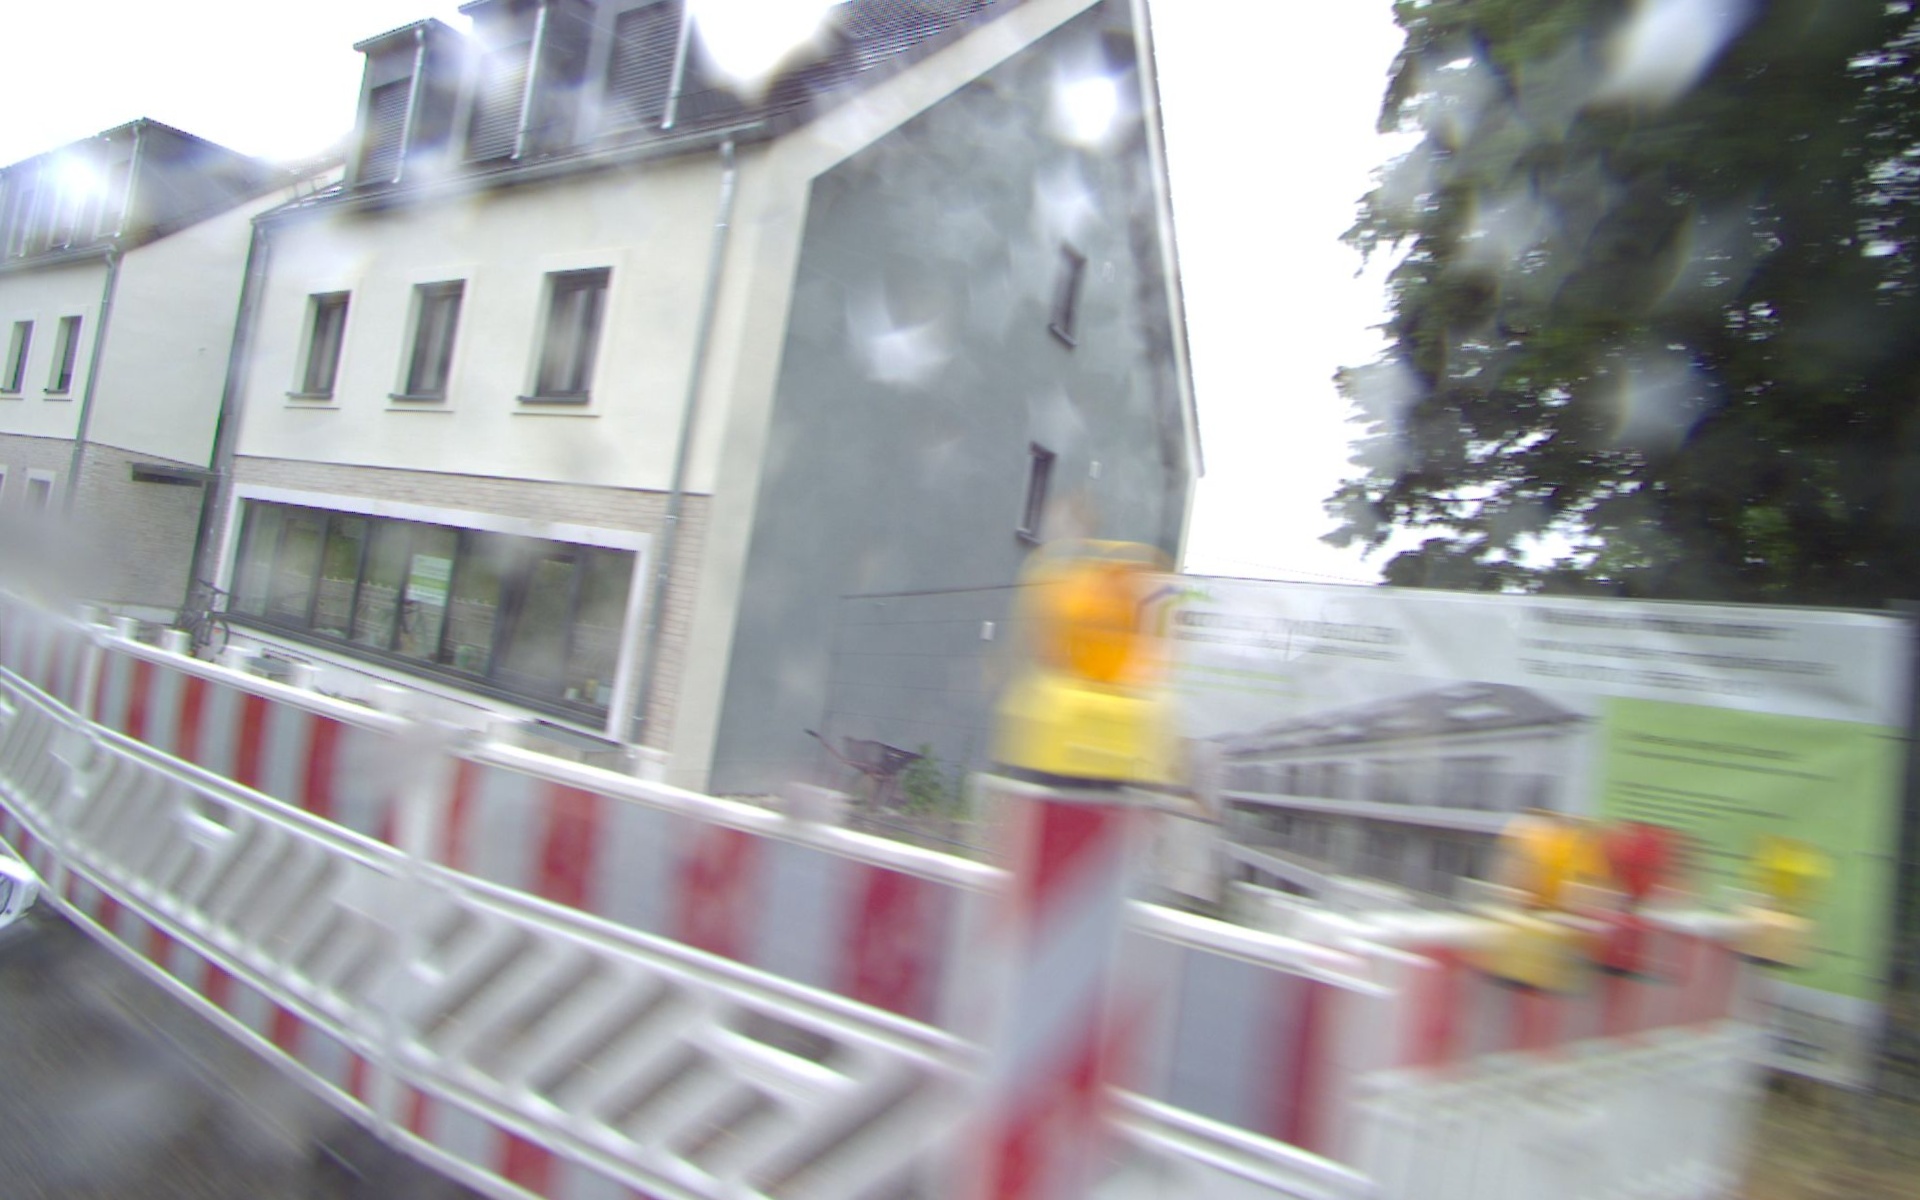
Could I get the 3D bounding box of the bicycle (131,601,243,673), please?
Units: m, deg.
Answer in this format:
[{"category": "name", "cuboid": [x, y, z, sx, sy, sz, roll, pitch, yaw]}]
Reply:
[{"category": "bicycle", "cuboid": [-9.960, 0.459, 12.950, 1.710, 0.706, 0.496, 7, 2, 30]}]
